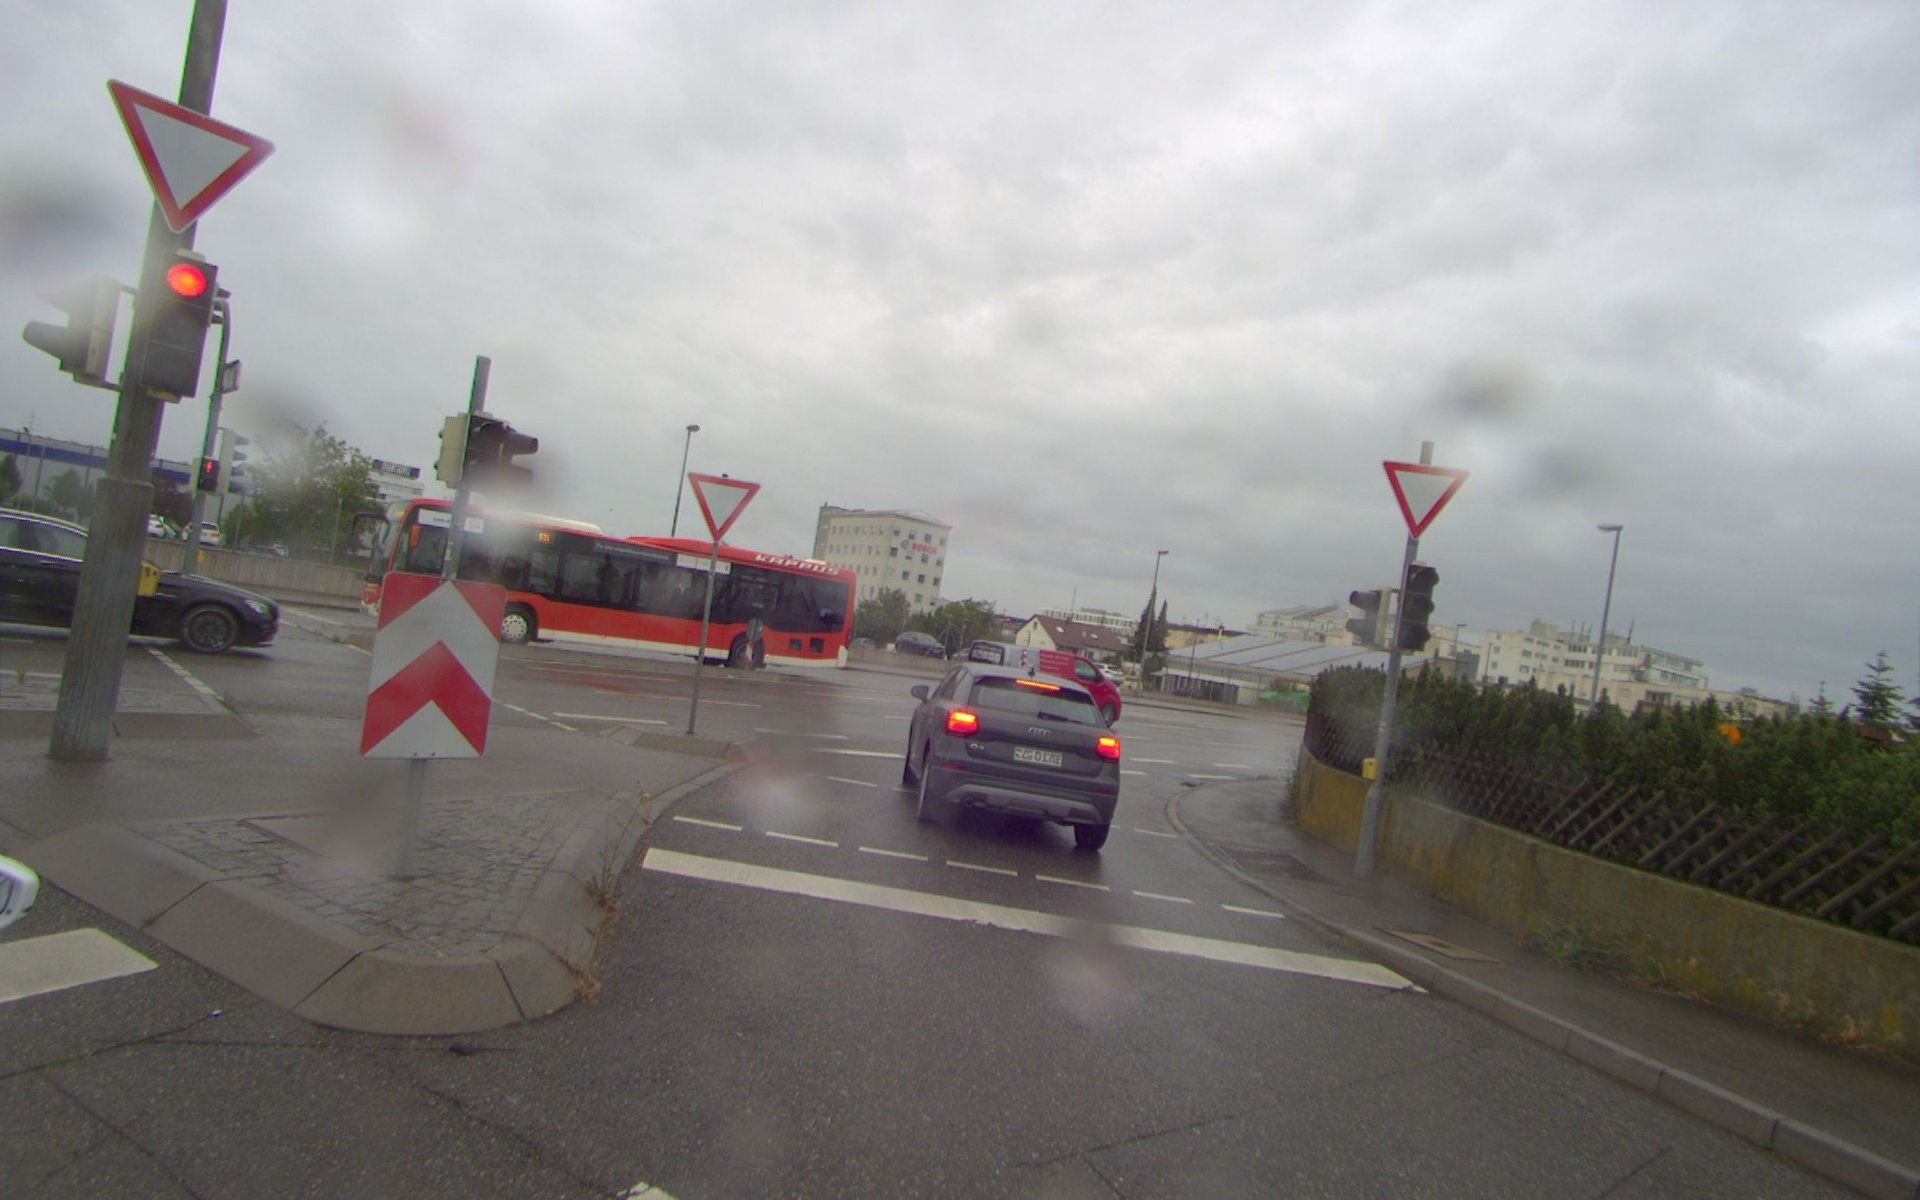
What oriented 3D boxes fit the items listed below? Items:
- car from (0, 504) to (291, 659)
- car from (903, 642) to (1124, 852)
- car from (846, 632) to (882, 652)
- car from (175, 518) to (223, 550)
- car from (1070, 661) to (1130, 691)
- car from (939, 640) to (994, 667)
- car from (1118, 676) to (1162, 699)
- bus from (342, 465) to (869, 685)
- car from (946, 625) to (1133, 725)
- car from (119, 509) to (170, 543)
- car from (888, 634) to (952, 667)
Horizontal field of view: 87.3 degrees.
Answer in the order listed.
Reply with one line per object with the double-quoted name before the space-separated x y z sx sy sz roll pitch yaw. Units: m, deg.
"car" -11.307 -0.344 12.482 4.649 1.493 1.976 11 -3 -43
"car" 0.351 1.337 10.504 1.659 1.512 3.940 8 -2 -4
"car" -9.611 4.195 100.348 1.979 1.494 3.971 9 -2 -29
"car" -43.907 -3.808 58.027 1.986 1.495 3.958 10 -2 -38
"car" 9.726 5.250 70.055 1.979 1.494 3.971 9 -2 -29
"car" 0.533 4.370 82.226 3.951 1.494 1.989 9 -2 -24
"car" 17.891 8.714 99.971 3.760 1.771 1.887 9 -2 -29
"bus" -8.349 -0.278 25.835 12.244 3.357 3.040 12 -3 -41
"car" 2.186 2.028 26.796 4.752 2.037 1.979 9 -2 -39
"car" -45.626 -4.134 56.359 1.985 1.495 3.959 10 -2 -38
"car" -2.483 3.087 61.957 1.983 1.494 3.964 10 -2 -34
